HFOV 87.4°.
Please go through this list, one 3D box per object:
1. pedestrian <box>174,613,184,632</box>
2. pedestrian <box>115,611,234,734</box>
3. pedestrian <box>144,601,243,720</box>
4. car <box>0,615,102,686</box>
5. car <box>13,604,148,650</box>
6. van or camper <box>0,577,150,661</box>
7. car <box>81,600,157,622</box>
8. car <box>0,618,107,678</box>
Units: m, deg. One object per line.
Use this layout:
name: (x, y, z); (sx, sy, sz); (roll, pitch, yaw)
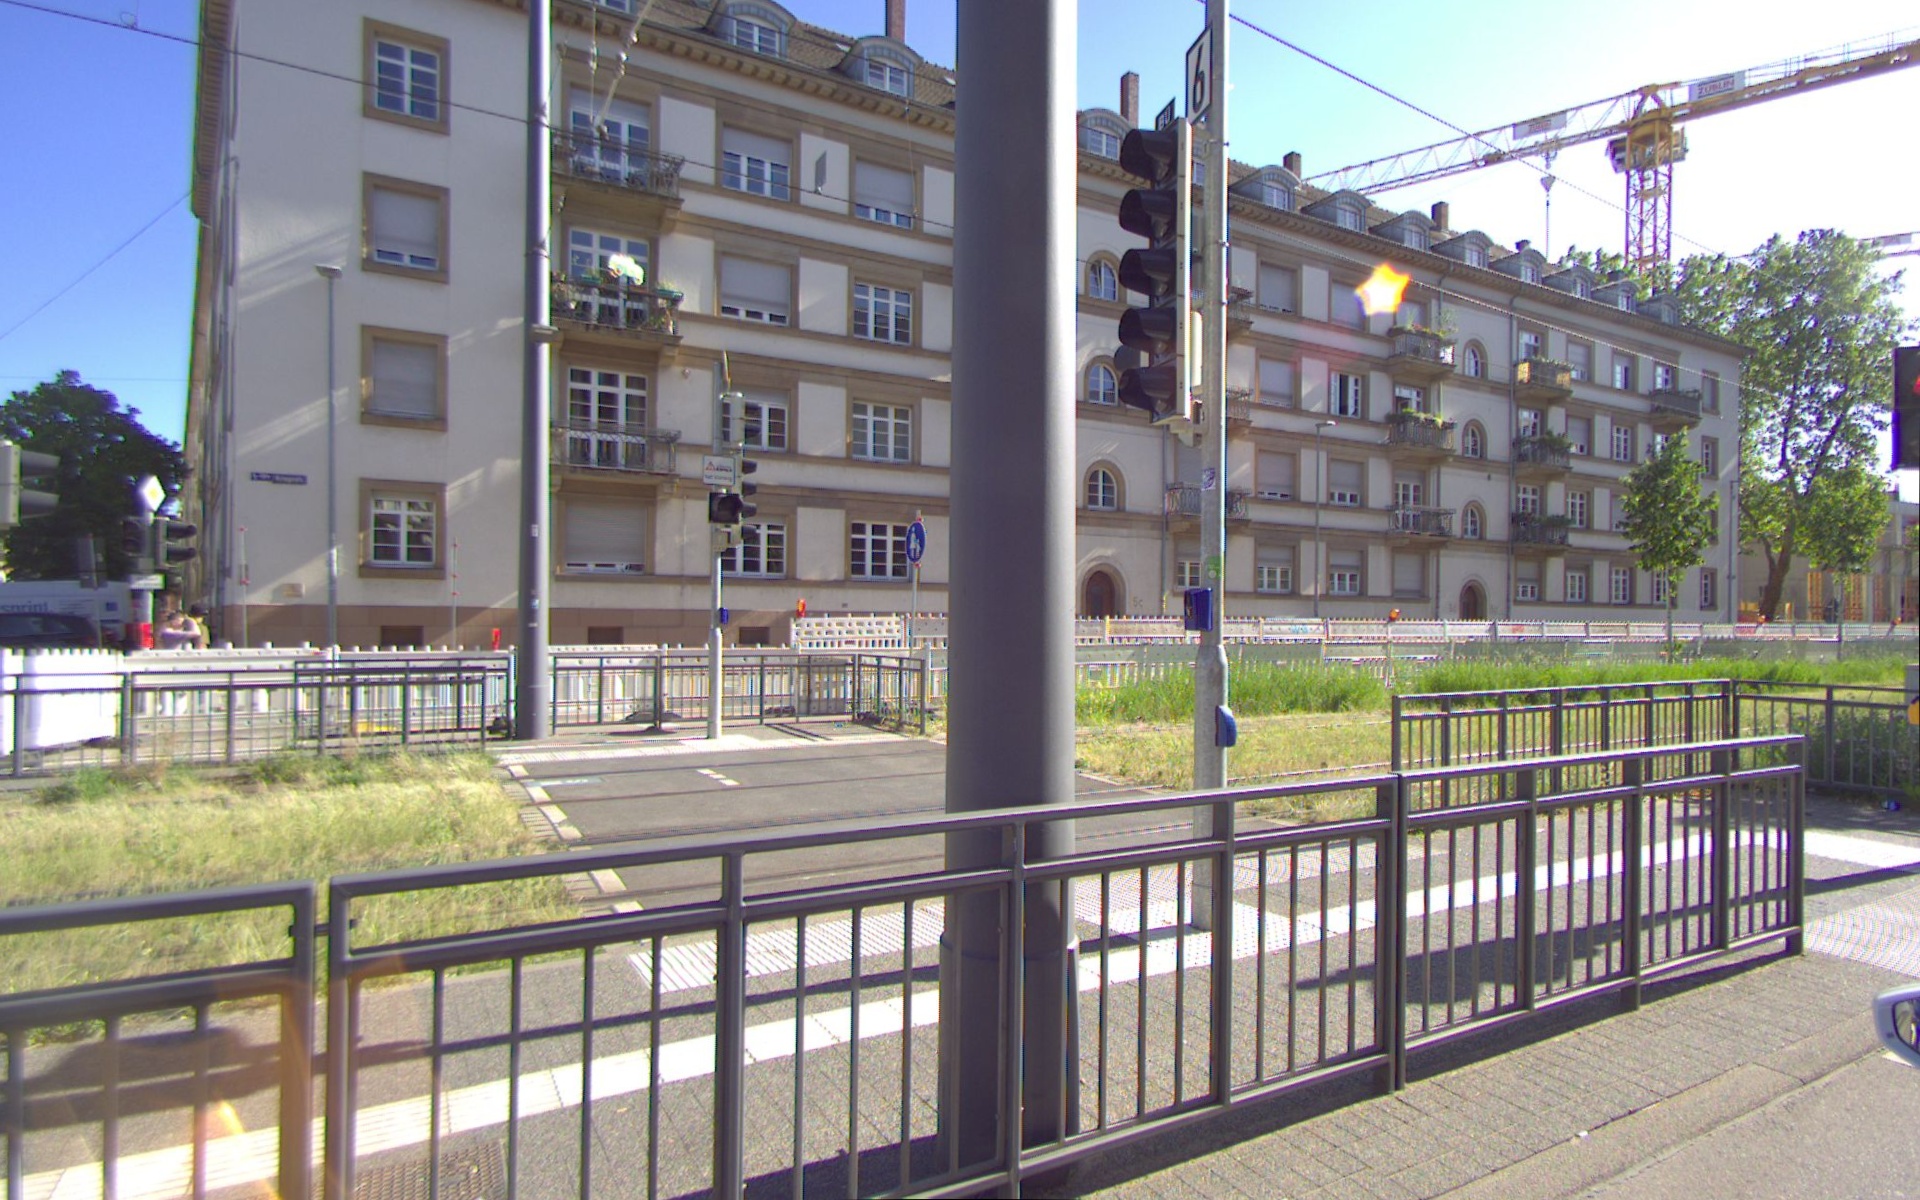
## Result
pedestrian: (-73.043, 2.121, 93.941); (0.682, 1.778, 0.808); (1, -1, -36)
pedestrian: (-10.396, 0.941, 13.325); (0.892, 1.557, 0.867); (1, 0, -5)
pedestrian: (-11.998, 0.920, 15.750); (0.892, 1.804, 0.867); (1, 0, -6)
car: (-21.647, 1.108, 22.479); (3.642, 1.542, 1.672); (1, -1, -39)
car: (-35.553, 1.083, 40.757); (3.963, 1.799, 1.724); (1, -1, -37)
van or camper: (-28.083, 0.560, 30.038); (5.911, 2.432, 1.976); (1, -1, -42)
car: (-58.112, 0.761, 69.459); (1.730, 1.480, 3.854); (0, -1, 43)
car: (-25.091, 1.252, 26.696); (3.635, 1.542, 1.672); (1, -1, -39)
